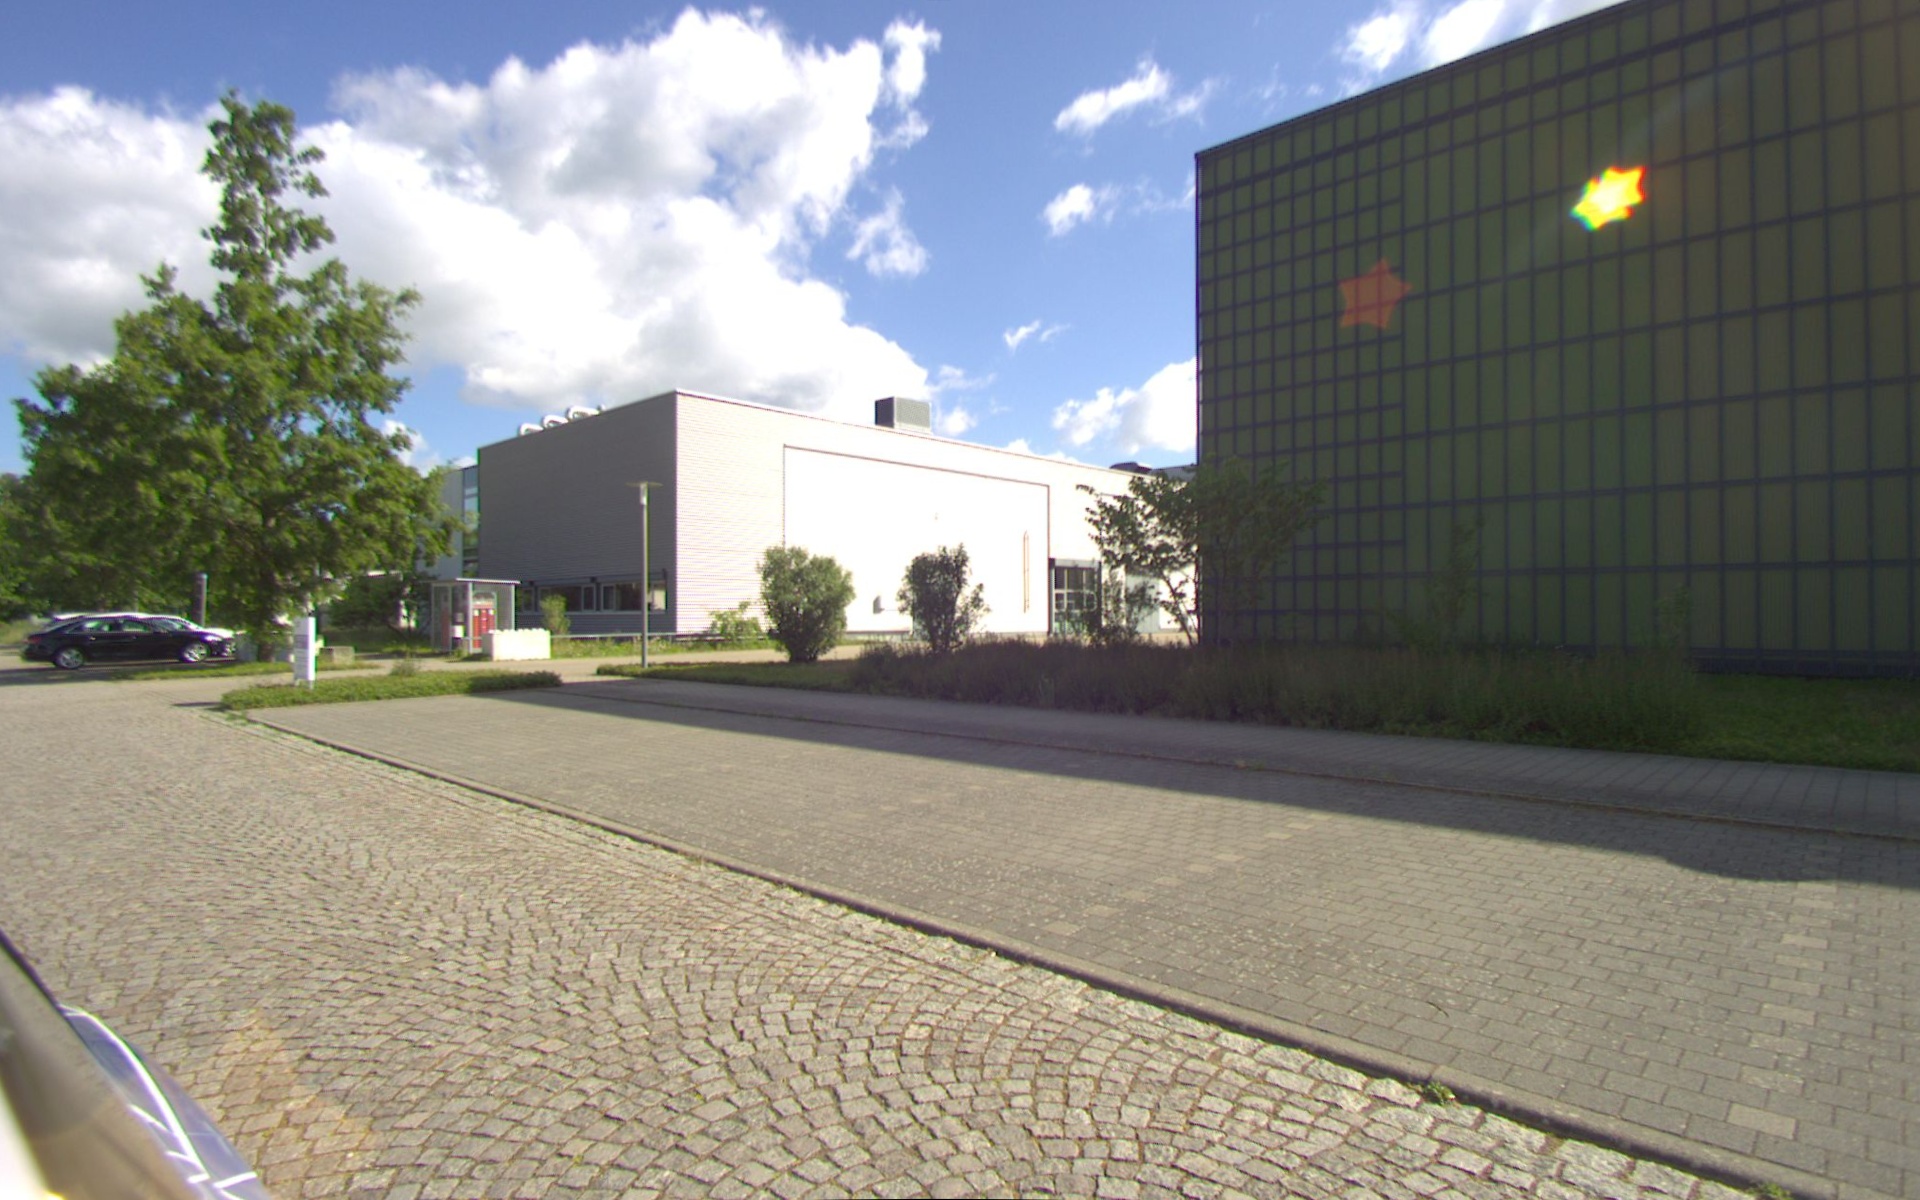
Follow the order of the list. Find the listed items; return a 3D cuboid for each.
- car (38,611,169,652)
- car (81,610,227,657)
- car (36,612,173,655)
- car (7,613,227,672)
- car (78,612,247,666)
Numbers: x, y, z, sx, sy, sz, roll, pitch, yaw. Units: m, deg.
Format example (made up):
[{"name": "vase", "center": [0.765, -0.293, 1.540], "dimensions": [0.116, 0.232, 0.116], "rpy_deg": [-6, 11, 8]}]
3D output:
[{"name": "car", "center": [-34.494, 1.236, 40.807], "dimensions": [1.796, 1.446, 3.869], "rpy_deg": [-1, 0, 44]}, {"name": "car", "center": [-28.573, 1.161, 35.943], "dimensions": [1.756, 1.457, 3.869], "rpy_deg": [-1, 0, 44]}, {"name": "car", "center": [-32.739, 1.245, 38.802], "dimensions": [1.693, 1.428, 3.869], "rpy_deg": [-1, 0, 44]}, {"name": "car", "center": [-24.103, 1.157, 29.087], "dimensions": [1.757, 1.434, 4.668], "rpy_deg": [-1, 0, 42]}, {"name": "car", "center": [-25.074, 1.170, 31.901], "dimensions": [4.088, 1.471, 1.693], "rpy_deg": [-2, 0, -42]}]
